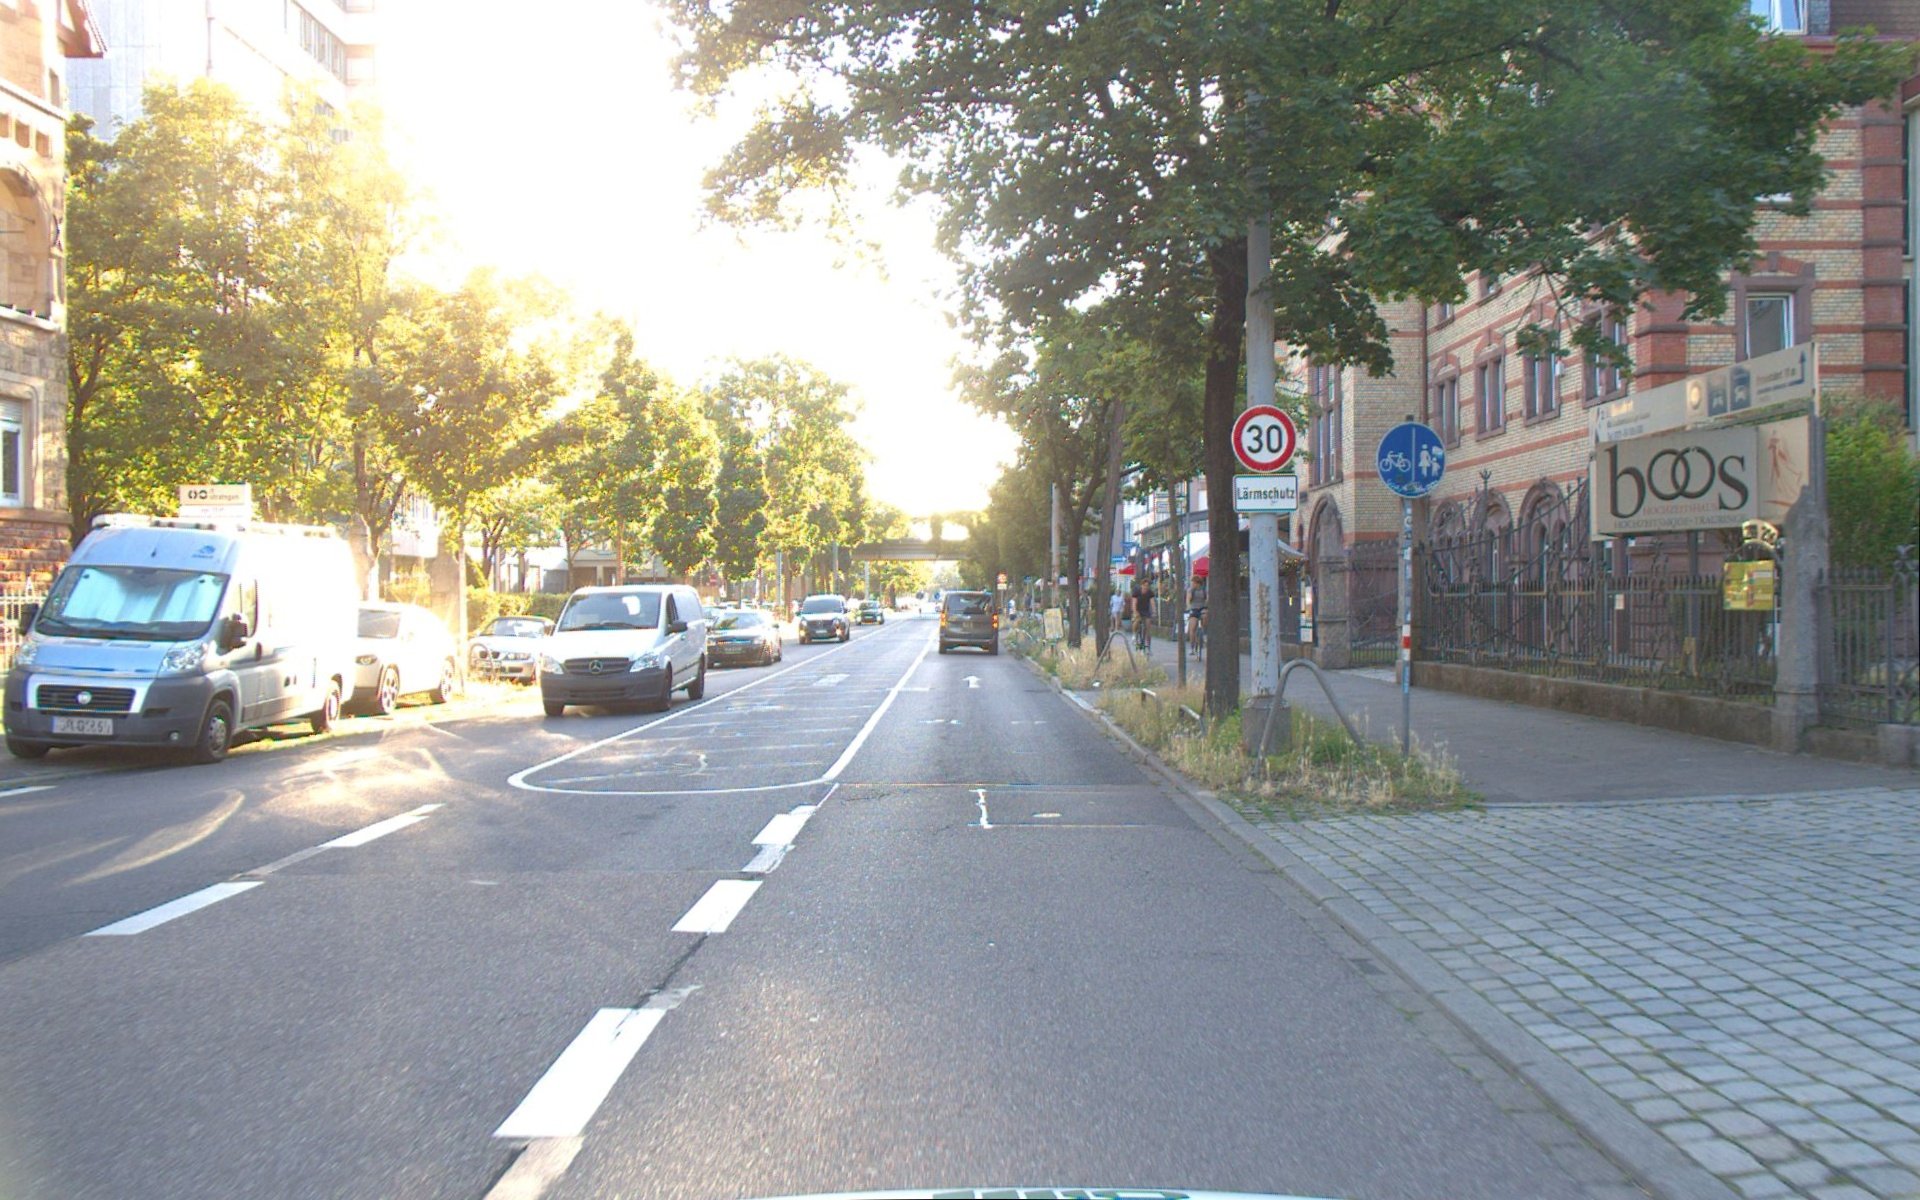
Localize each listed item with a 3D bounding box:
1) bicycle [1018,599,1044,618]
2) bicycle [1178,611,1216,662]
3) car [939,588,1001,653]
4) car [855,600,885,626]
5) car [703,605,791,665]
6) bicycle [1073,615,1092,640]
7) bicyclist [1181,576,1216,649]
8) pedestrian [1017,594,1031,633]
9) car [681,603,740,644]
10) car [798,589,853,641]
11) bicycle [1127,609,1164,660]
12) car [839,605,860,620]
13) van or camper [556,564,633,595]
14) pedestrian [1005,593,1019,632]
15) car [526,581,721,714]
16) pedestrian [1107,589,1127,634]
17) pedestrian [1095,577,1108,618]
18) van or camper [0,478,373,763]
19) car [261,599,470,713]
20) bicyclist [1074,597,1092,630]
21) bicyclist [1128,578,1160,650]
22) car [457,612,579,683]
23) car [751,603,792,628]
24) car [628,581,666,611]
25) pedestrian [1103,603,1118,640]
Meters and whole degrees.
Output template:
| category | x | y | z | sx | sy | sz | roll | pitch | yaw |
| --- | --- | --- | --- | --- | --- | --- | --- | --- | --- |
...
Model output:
| category | x | y | z | sx | sy | sz | roll | pitch | yaw |
| --- | --- | --- | --- | --- | --- | --- | --- | --- | --- |
| bicycle | 3.562 | 0.404 | 82.750 | 0.579 | 0.913 | 1.976 | 2 | 0 | -19 |
| bicycle | 5.191 | 0.791 | 36.288 | 0.507 | 1.058 | 2.088 | 2 | 0 | 0 |
| car | 0.320 | 0.610 | 51.945 | 1.848 | 1.958 | 3.839 | -1 | 0 | 1 |
| car | -5.692 | 0.778 | 104.739 | 1.645 | 1.557 | 4.000 | -2 | 0 | 0 |
| car | -5.532 | 0.880 | 43.410 | 1.723 | 1.410 | 4.304 | -1 | 0 | 0 |
| bicycle | 4.663 | 1.029 | 63.150 | 0.567 | 0.913 | 1.987 | 2 | 0 | 0 |
| bicyclist | 5.235 | 0.268 | 36.357 | 0.583 | 1.559 | 0.893 | 2 | 0 | 0 |
| pedestrian | 3.185 | 0.653 | 81.877 | 0.496 | 1.922 | 0.543 | 2 | 0 | -15 |
| car | -9.087 | 0.834 | 60.502 | 1.605 | 1.410 | 3.999 | 2 | 0 | -1 |
| car | -5.116 | 0.556 | 63.518 | 1.796 | 1.885 | 4.473 | -1 | 0 | -1 |
| bicycle | 4.097 | 0.745 | 36.631 | 0.533 | 1.058 | 2.088 | 2 | 0 | 0 |
| car | -11.529 | 1.302 | 172.884 | 1.953 | 1.439 | 4.237 | 2 | 0 | 0 |
| van or camper | -32.974 | -1.847 | 149.359 | 6.431 | 2.566 | 2.448 | 2 | 0 | -2 |
| pedestrian | 2.593 | 0.625 | 82.351 | 0.496 | 1.922 | 0.543 | 2 | 0 | -15 |
| car | -5.193 | 0.678 | 26.282 | 1.952 | 1.863 | 5.170 | -1 | 0 | 1 |
| pedestrian | 5.814 | 0.425 | 61.308 | 0.631 | 1.661 | 0.656 | 2 | 0 | 0 |
| pedestrian | 8.968 | -0.172 | 104.812 | 0.700 | 2.583 | 0.824 | 2 | 0 | 0 |
| van or camper | -8.668 | 0.198 | 19.092 | 1.954 | 2.715 | 6.033 | 2 | 0 | -4 |
| car | -9.077 | 0.794 | 25.641 | 1.711 | 1.561 | 4.301 | 2 | 0 | -1 |
| bicyclist | 4.685 | 0.505 | 63.135 | 0.573 | 1.258 | 1.112 | 2 | 0 | 0 |
| bicyclist | 4.089 | 0.312 | 36.788 | 0.583 | 1.559 | 0.893 | 2 | 0 | 0 |
| car | -8.775 | 0.908 | 33.089 | 1.505 | 1.270 | 3.613 | 2 | 0 | -1 |
| car | -11.324 | 0.915 | 99.506 | 1.953 | 1.439 | 4.237 | 2 | 0 | 0 |
| car | -24.867 | -0.311 | 131.511 | 1.953 | 2.348 | 5.245 | 2 | 0 | 0 |
| pedestrian | 5.695 | 0.807 | 62.612 | 0.457 | 1.374 | 0.530 | 2 | 0 | 0 |
